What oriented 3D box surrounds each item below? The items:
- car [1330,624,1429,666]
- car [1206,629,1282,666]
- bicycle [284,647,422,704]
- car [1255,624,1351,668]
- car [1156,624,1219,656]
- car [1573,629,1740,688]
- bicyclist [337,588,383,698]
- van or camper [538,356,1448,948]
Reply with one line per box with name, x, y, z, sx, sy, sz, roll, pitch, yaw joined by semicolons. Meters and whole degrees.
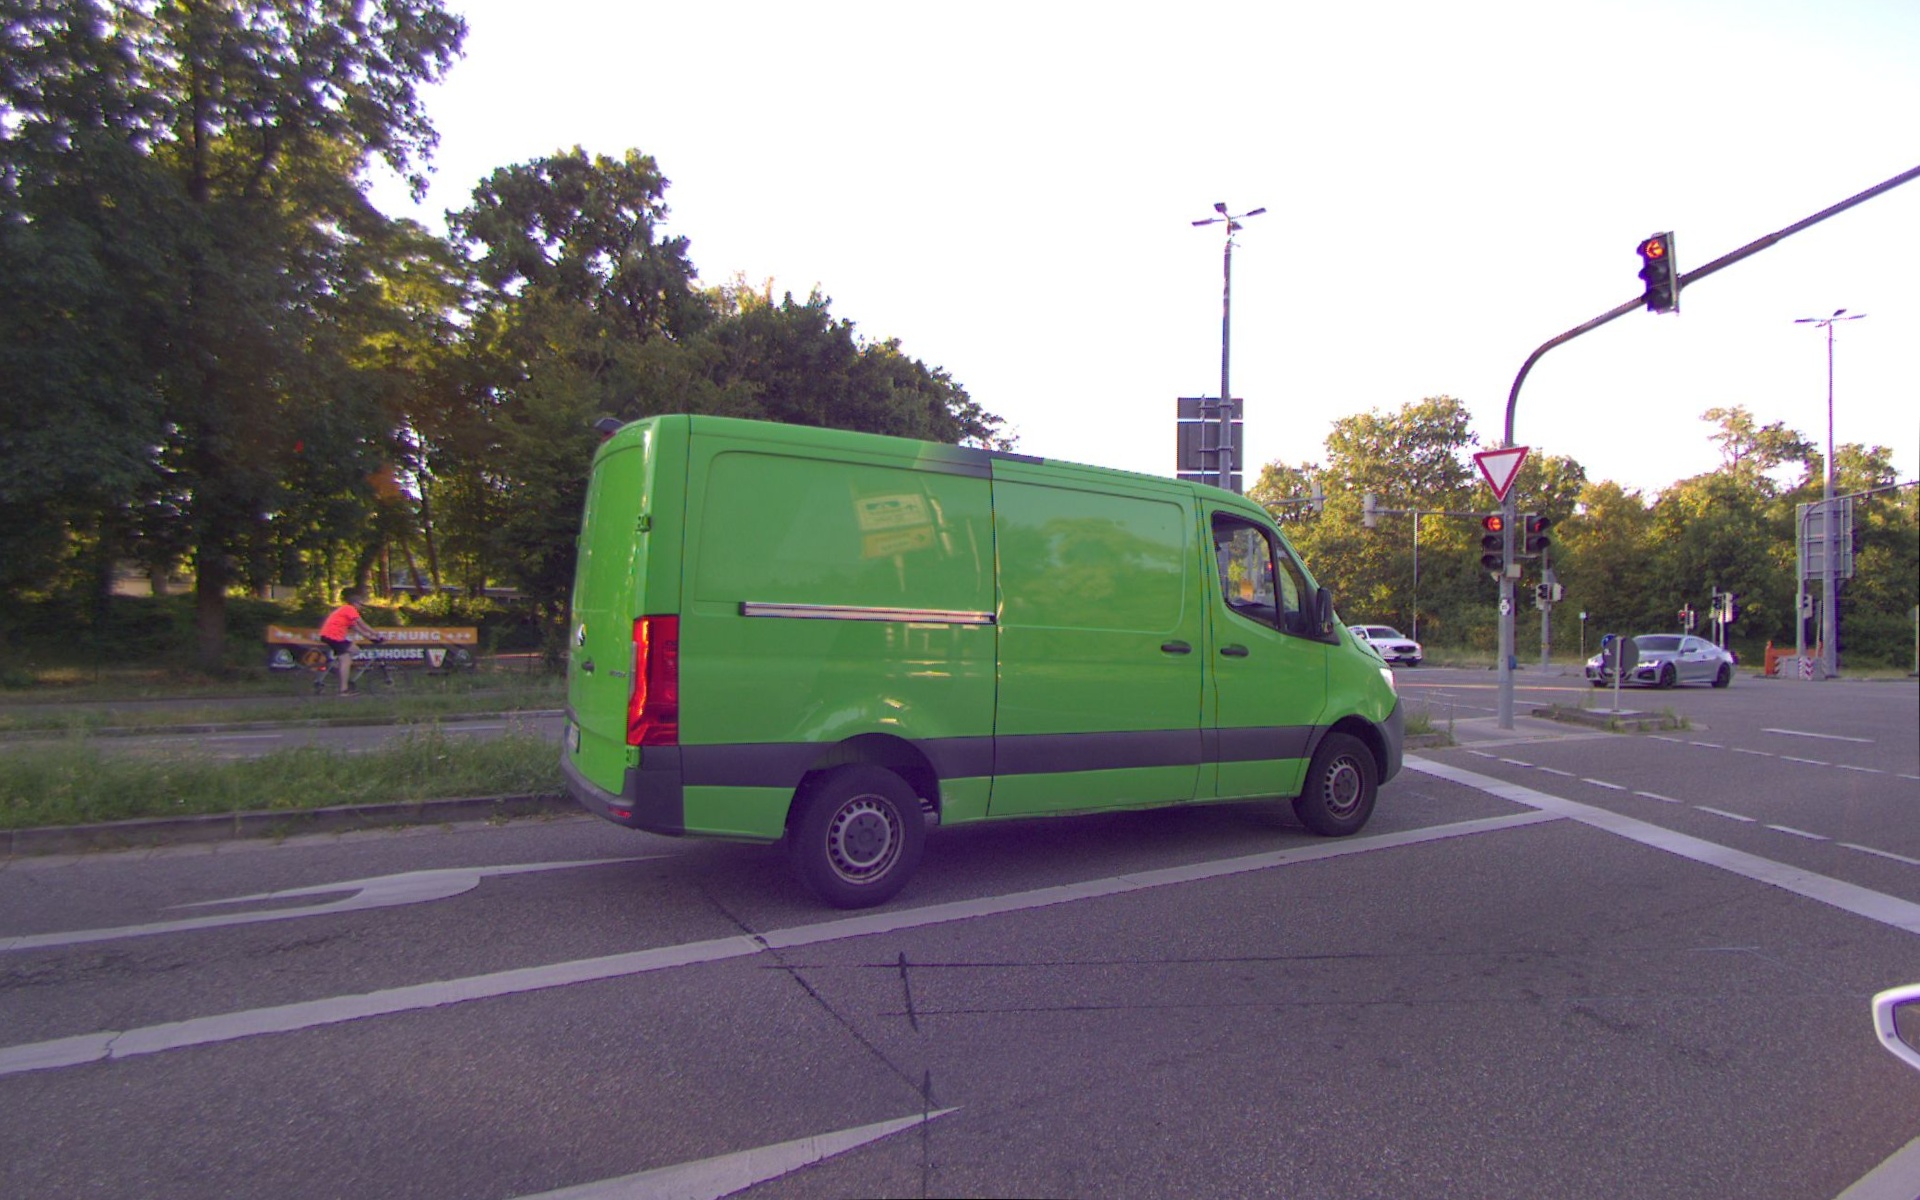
car;17.489;1.852;42.100;1.963;1.661;4.252;1;-1;-8
car;13.492;2.230;48.042;1.963;1.661;4.252;1;-1;-8
bicycle;-10.671;1.305;17.705;2.027;0.946;0.488;2;-2;-39
car;13.802;1.818;40.694;1.963;1.661;4.252;1;-1;-8
car;12.678;2.220;56.195;1.964;1.661;4.250;1;-1;-10
car;18.593;1.529;26.787;4.445;1.460;1.883;2;-1;-29
bicyclist;-10.608;0.752;17.763;0.613;1.899;0.455;2;-1;-38
van or camper;0.535;0.295;6.559;5.830;2.453;1.983;2;-1;-32
